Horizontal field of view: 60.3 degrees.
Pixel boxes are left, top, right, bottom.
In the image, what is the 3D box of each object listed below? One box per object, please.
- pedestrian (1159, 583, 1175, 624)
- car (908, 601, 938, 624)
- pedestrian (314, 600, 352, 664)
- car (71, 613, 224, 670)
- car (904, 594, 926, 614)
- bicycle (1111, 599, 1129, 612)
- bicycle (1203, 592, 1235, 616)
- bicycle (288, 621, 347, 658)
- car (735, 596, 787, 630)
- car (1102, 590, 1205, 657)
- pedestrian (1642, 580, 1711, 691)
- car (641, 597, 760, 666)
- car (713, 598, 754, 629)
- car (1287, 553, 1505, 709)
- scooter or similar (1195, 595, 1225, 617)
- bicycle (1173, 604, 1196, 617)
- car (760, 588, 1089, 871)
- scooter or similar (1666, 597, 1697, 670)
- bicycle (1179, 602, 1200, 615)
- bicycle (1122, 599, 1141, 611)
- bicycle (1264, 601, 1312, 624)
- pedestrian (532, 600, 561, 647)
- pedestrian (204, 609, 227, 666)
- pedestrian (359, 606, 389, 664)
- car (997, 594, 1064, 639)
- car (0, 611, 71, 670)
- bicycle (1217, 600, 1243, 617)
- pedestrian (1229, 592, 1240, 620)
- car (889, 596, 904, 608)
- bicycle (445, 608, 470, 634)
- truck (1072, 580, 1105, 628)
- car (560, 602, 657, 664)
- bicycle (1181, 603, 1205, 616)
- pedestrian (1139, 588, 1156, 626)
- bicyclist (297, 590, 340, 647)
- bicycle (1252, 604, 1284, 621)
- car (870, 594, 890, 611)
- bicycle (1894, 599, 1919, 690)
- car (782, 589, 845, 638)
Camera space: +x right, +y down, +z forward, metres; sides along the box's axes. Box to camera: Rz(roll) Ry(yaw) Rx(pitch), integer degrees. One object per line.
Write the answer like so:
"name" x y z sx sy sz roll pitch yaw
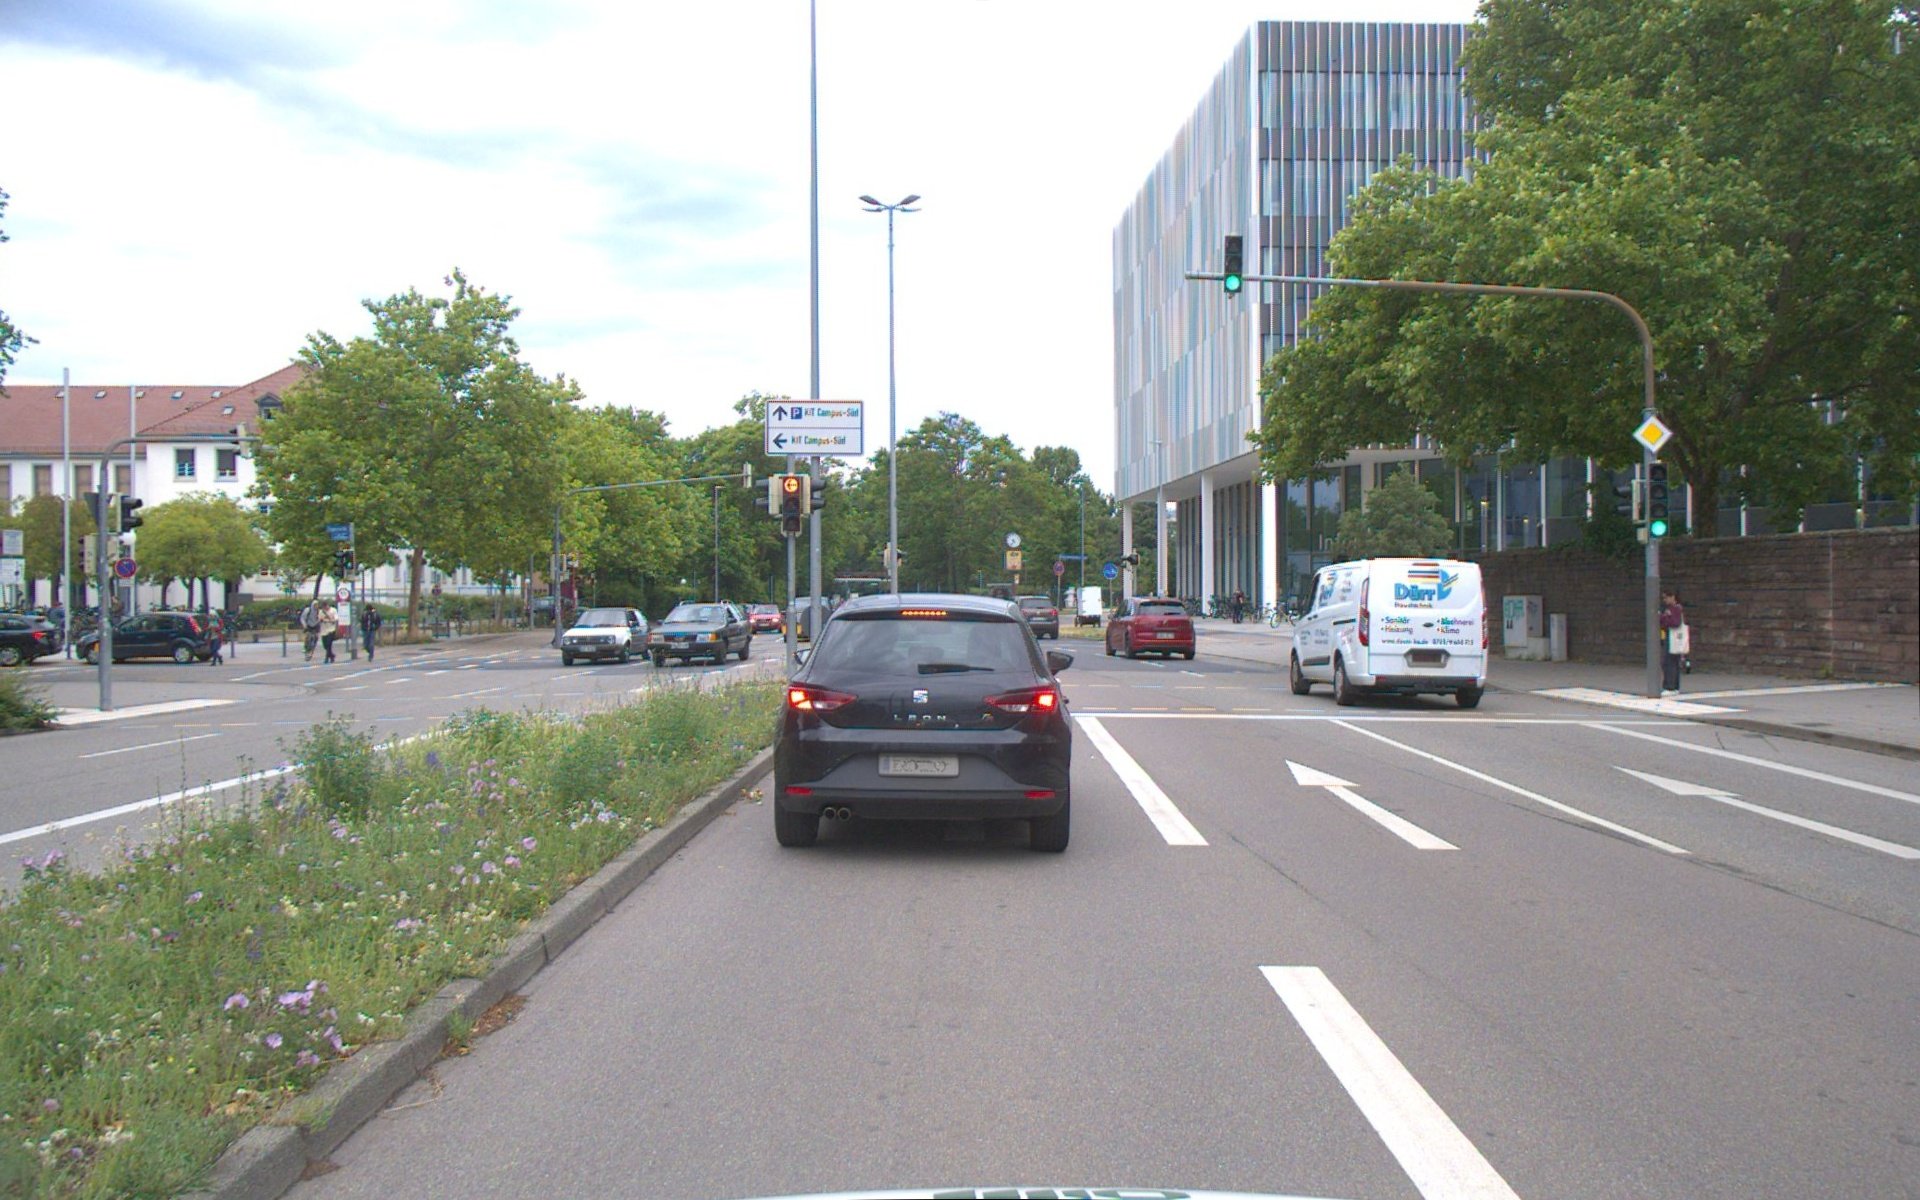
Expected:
"pedestrian" 9.302 0.147 74.352 0.673 1.812 0.677 0 0 0
"car" -2.518 0.825 111.173 1.861 1.377 3.880 -2 1 -3
"pedestrian" -17.856 0.922 47.071 0.833 1.770 0.820 1 -5 -35
"car" -23.604 1.193 48.152 3.585 1.244 1.563 -2 7 -6
"car" -3.430 0.303 126.167 1.583 1.377 3.998 -2 1 -3
"bicycle" 11.759 0.396 121.600 1.240 0.863 0.479 2 -1 -22
"bicycle" 14.153 0.213 90.367 1.757 1.232 0.563 -2 1 -34
"bicycle" -19.020 1.160 48.936 1.581 1.081 0.668 0 -1 22
"car" -9.248 0.575 77.170 1.678 1.443 4.296 -1 1 3
"car" 5.105 0.582 44.116 1.912 1.652 3.744 1 1 -6
"pedestrian" 10.726 0.523 24.780 0.646 1.588 0.636 -4 0 0
"car" -6.159 0.716 39.797 1.727 1.486 4.794 -3 -1 4
"car" -13.653 0.816 99.801 1.867 1.747 4.000 -2 1 0
"car" 6.147 0.391 23.870 1.926 2.007 4.343 1 0 -1
"scooter or similar" 13.757 0.339 90.948 1.654 1.126 0.493 -2 0 -32
"bicycle" 13.395 0.599 98.631 1.345 0.717 0.489 -2 0 9
"car" -0.100 0.668 10.590 1.716 1.457 3.770 1 0 3
"scooter or similar" 12.663 0.577 29.000 0.423 1.199 1.703 -2 0 25
"bicycle" 13.926 0.533 100.201 1.246 0.717 0.485 -2 0 7
"bicycle" 12.405 0.370 119.594 1.217 0.837 0.479 2 -1 -22
"bicycle" 13.639 0.512 68.831 1.859 0.914 0.693 -2 0 -21
"pedestrian" -14.689 0.836 58.779 0.857 1.614 0.543 -2 0 -7
"pedestrian" -20.886 1.063 46.390 0.562 1.553 0.843 0 -4 -23
"pedestrian" -16.447 0.980 46.432 0.777 1.586 0.695 0 -3 -20
"car" 2.761 0.626 65.850 1.879 1.693 4.106 -2 1 -8
"car" -27.810 1.181 47.211 3.986 1.477 1.616 -1 6 -18
"bicycle" 14.474 0.472 88.657 1.420 0.872 0.362 -2 0 -27
"pedestrian" 13.499 0.301 81.353 0.462 1.385 0.446 -2 0 10
"car" -6.658 0.233 173.149 1.475 1.214 3.161 -2 1 -3
"bicycle" -21.990 0.907 72.404 0.596 1.079 2.042 -2 1 -6
"truck" 6.342 0.162 81.695 1.290 2.282 3.401 -2 1 0
"car" -8.904 0.816 42.140 1.575 1.405 3.809 -2 1 1
"bicycle" 13.643 0.579 96.832 1.345 0.717 0.416 -2 0 3
"pedestrian" 8.408 0.305 74.343 0.673 1.668 0.633 1 0 0
"bicyclist" -18.966 0.546 48.907 0.939 1.664 0.668 0 -1 22
"bicycle" 15.325 0.608 82.308 1.450 0.761 0.566 -2 0 -3
"car" -7.878 0.242 162.773 1.663 1.530 4.005 -2 1 -6
"bicycle" 13.305 0.592 21.752 0.787 1.194 1.952 -3 1 -4
"car" -5.489 0.507 62.366 1.881 1.693 4.399 -2 0 1
